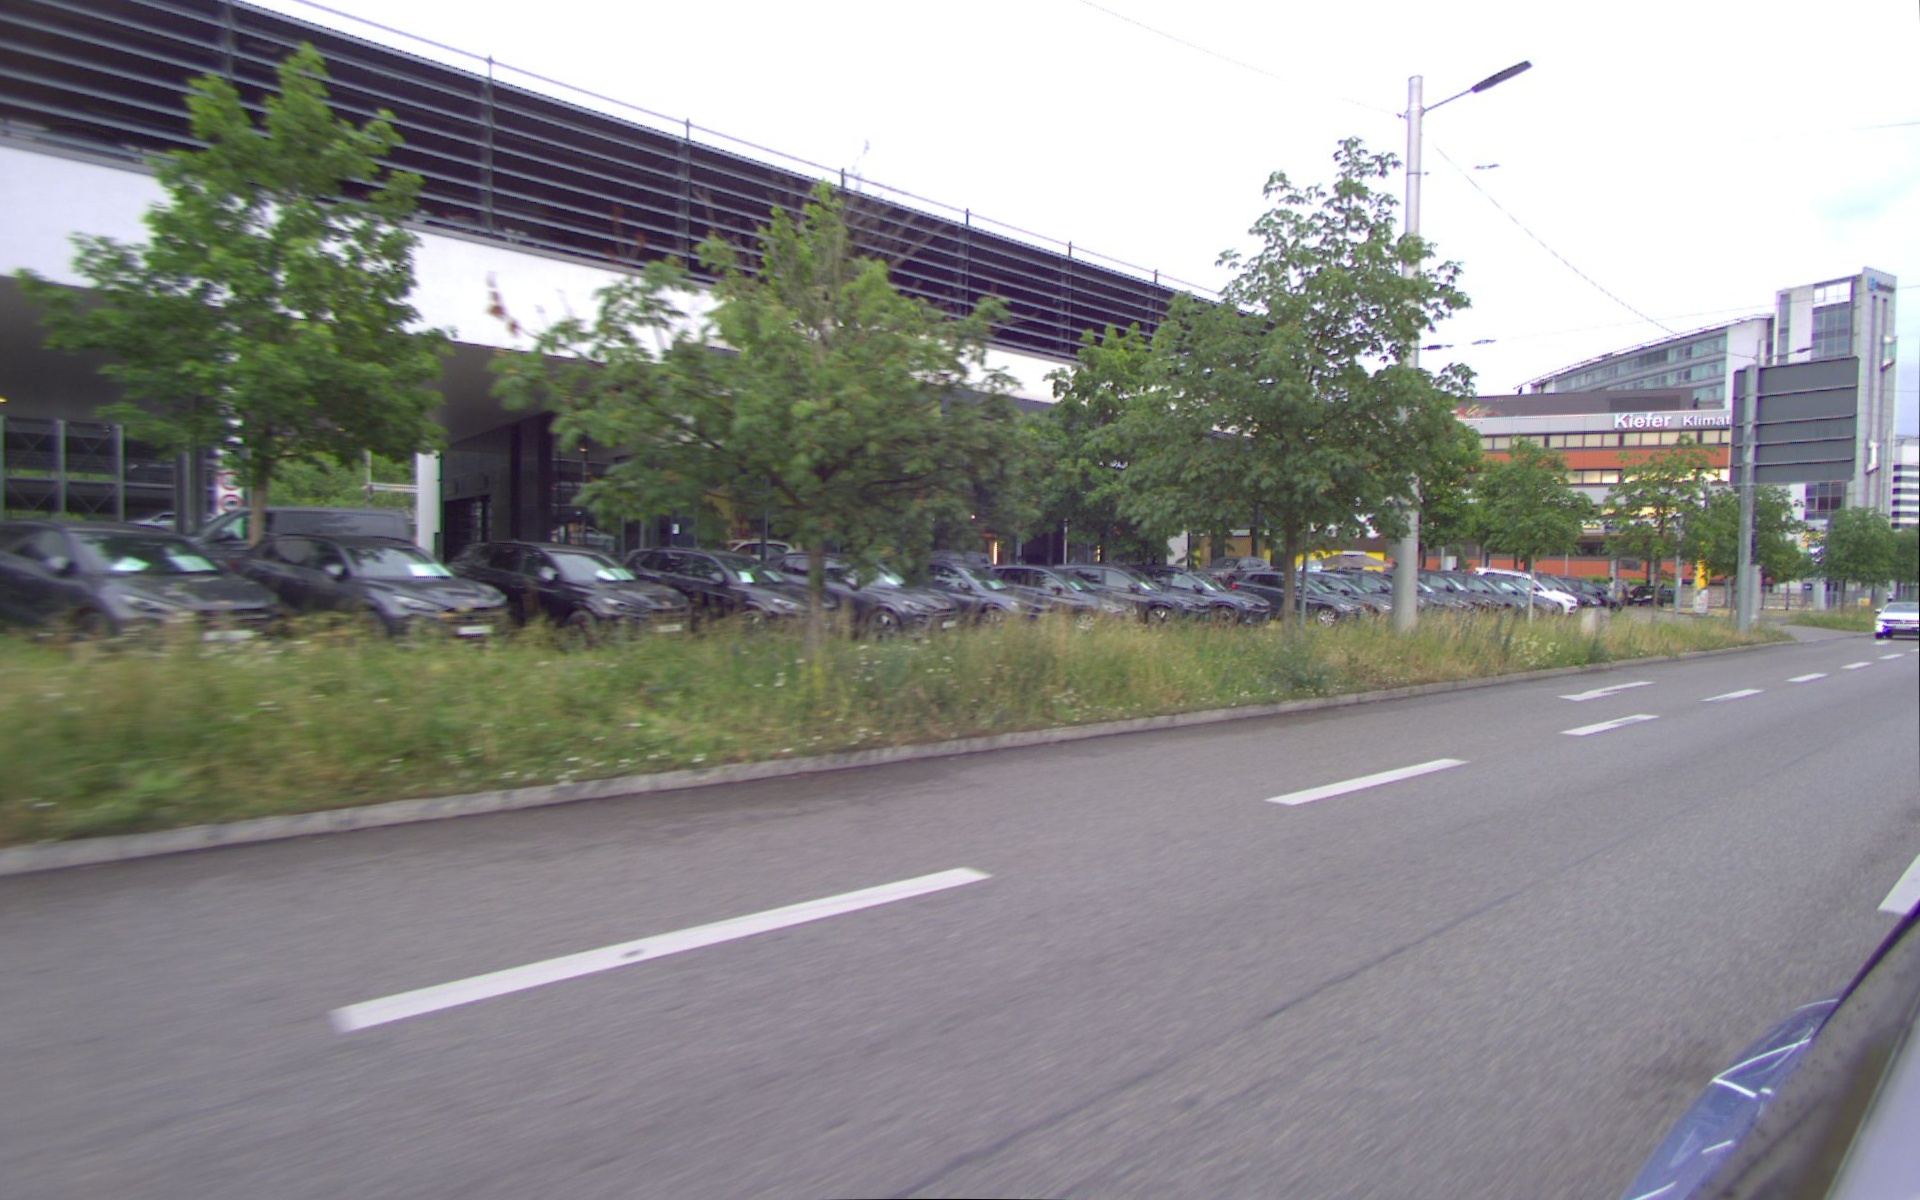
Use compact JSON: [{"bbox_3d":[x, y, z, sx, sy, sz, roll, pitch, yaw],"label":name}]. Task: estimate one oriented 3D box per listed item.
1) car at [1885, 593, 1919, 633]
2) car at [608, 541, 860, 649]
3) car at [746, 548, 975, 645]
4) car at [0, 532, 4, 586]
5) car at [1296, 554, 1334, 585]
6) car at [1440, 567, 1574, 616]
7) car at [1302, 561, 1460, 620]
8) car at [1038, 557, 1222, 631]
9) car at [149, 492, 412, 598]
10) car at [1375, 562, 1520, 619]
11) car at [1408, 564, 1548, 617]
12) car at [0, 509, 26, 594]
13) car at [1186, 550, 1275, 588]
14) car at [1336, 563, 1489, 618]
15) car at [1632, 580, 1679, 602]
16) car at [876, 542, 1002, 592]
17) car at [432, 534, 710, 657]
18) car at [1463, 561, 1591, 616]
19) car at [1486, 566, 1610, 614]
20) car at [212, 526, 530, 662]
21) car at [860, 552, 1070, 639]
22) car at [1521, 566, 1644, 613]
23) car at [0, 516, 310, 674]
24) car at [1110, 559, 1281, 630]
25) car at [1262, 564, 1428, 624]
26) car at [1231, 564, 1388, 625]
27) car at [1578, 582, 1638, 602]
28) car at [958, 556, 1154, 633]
[{"bbox_3d":[38.624,0.508,40.460,3.767,1.513,1.878,0,1,-39],"label":"car"},{"bbox_3d":[-3.999,-0.154,17.854,4.111,1.588,1.811,4,3,26],"label":"car"},{"bbox_3d":[-1.975,-0.140,19.807,4.119,1.588,1.889,4,3,30],"label":"car"},{"bbox_3d":[-30.102,-1.226,28.914,3.929,1.611,1.809,0,2,-40],"label":"car"},{"bbox_3d":[20.140,-1.712,57.547,1.820,1.664,4.292,2,1,17],"label":"car"},{"bbox_3d":[21.759,-0.373,40.340,4.475,1.657,1.798,4,3,36],"label":"car"},{"bbox_3d":[13.899,-0.356,33.582,4.479,1.683,1.796,4,3,39],"label":"car"},{"bbox_3d":[4.189,-0.205,25.114,4.120,1.552,1.775,4,3,31],"label":"car"},{"bbox_3d":[-14.057,-1.069,21.084,4.353,1.962,1.890,0,2,-42],"label":"car"},{"bbox_3d":[17.799,-0.392,37.037,4.477,1.817,1.797,4,3,38],"label":"car"},{"bbox_3d":[19.821,-0.408,38.784,4.477,1.773,1.797,4,3,38],"label":"car"},{"bbox_3d":[-20.559,-1.023,20.752,1.871,1.652,3.996,0,3,-40],"label":"car"},{"bbox_3d":[11.494,-1.301,42.883,3.831,1.491,1.783,0,2,-41],"label":"car"},{"bbox_3d":[15.701,-0.373,35.256,4.484,1.638,1.794,5,4,41],"label":"car"},{"bbox_3d":[49.097,-0.606,71.408,3.715,1.436,1.783,0,3,-41],"label":"car"},{"bbox_3d":[-0.637,-1.036,32.362,3.831,1.491,1.668,0,2,-42],"label":"car"},{"bbox_3d":[-6.196,-0.143,16.074,4.111,1.624,1.811,4,3,26],"label":"car"},{"bbox_3d":[23.497,-0.524,42.029,4.468,2.015,1.800,4,3,33],"label":"car"},{"bbox_3d":[25.314,-0.476,43.632,4.366,1.811,1.854,4,3,37],"label":"car"},{"bbox_3d":[-8.323,-0.165,14.291,4.108,1.581,1.855,3,3,24],"label":"car"},{"bbox_3d":[0.075,-0.161,21.579,4.120,1.546,1.812,4,3,31],"label":"car"},{"bbox_3d":[28.357,-0.493,46.169,4.307,1.838,1.880,3,2,0],"label":"car"},{"bbox_3d":[-10.415,-0.168,12.522,4.284,1.632,1.857,3,3,22],"label":"car"},{"bbox_3d":[6.185,-0.202,26.641,4.025,1.595,1.714,4,3,31],"label":"car"},{"bbox_3d":[12.026,-0.230,31.762,4.479,1.588,1.796,4,3,39],"label":"car"},{"bbox_3d":[10.312,-0.215,30.025,4.038,1.520,1.663,4,3,39],"label":"car"},{"bbox_3d":[57.140,-0.675,89.262,4.322,1.667,1.775,-1,0,30],"label":"car"},{"bbox_3d":[2.181,-0.189,23.278,4.120,1.476,1.775,4,3,31],"label":"car"}]
